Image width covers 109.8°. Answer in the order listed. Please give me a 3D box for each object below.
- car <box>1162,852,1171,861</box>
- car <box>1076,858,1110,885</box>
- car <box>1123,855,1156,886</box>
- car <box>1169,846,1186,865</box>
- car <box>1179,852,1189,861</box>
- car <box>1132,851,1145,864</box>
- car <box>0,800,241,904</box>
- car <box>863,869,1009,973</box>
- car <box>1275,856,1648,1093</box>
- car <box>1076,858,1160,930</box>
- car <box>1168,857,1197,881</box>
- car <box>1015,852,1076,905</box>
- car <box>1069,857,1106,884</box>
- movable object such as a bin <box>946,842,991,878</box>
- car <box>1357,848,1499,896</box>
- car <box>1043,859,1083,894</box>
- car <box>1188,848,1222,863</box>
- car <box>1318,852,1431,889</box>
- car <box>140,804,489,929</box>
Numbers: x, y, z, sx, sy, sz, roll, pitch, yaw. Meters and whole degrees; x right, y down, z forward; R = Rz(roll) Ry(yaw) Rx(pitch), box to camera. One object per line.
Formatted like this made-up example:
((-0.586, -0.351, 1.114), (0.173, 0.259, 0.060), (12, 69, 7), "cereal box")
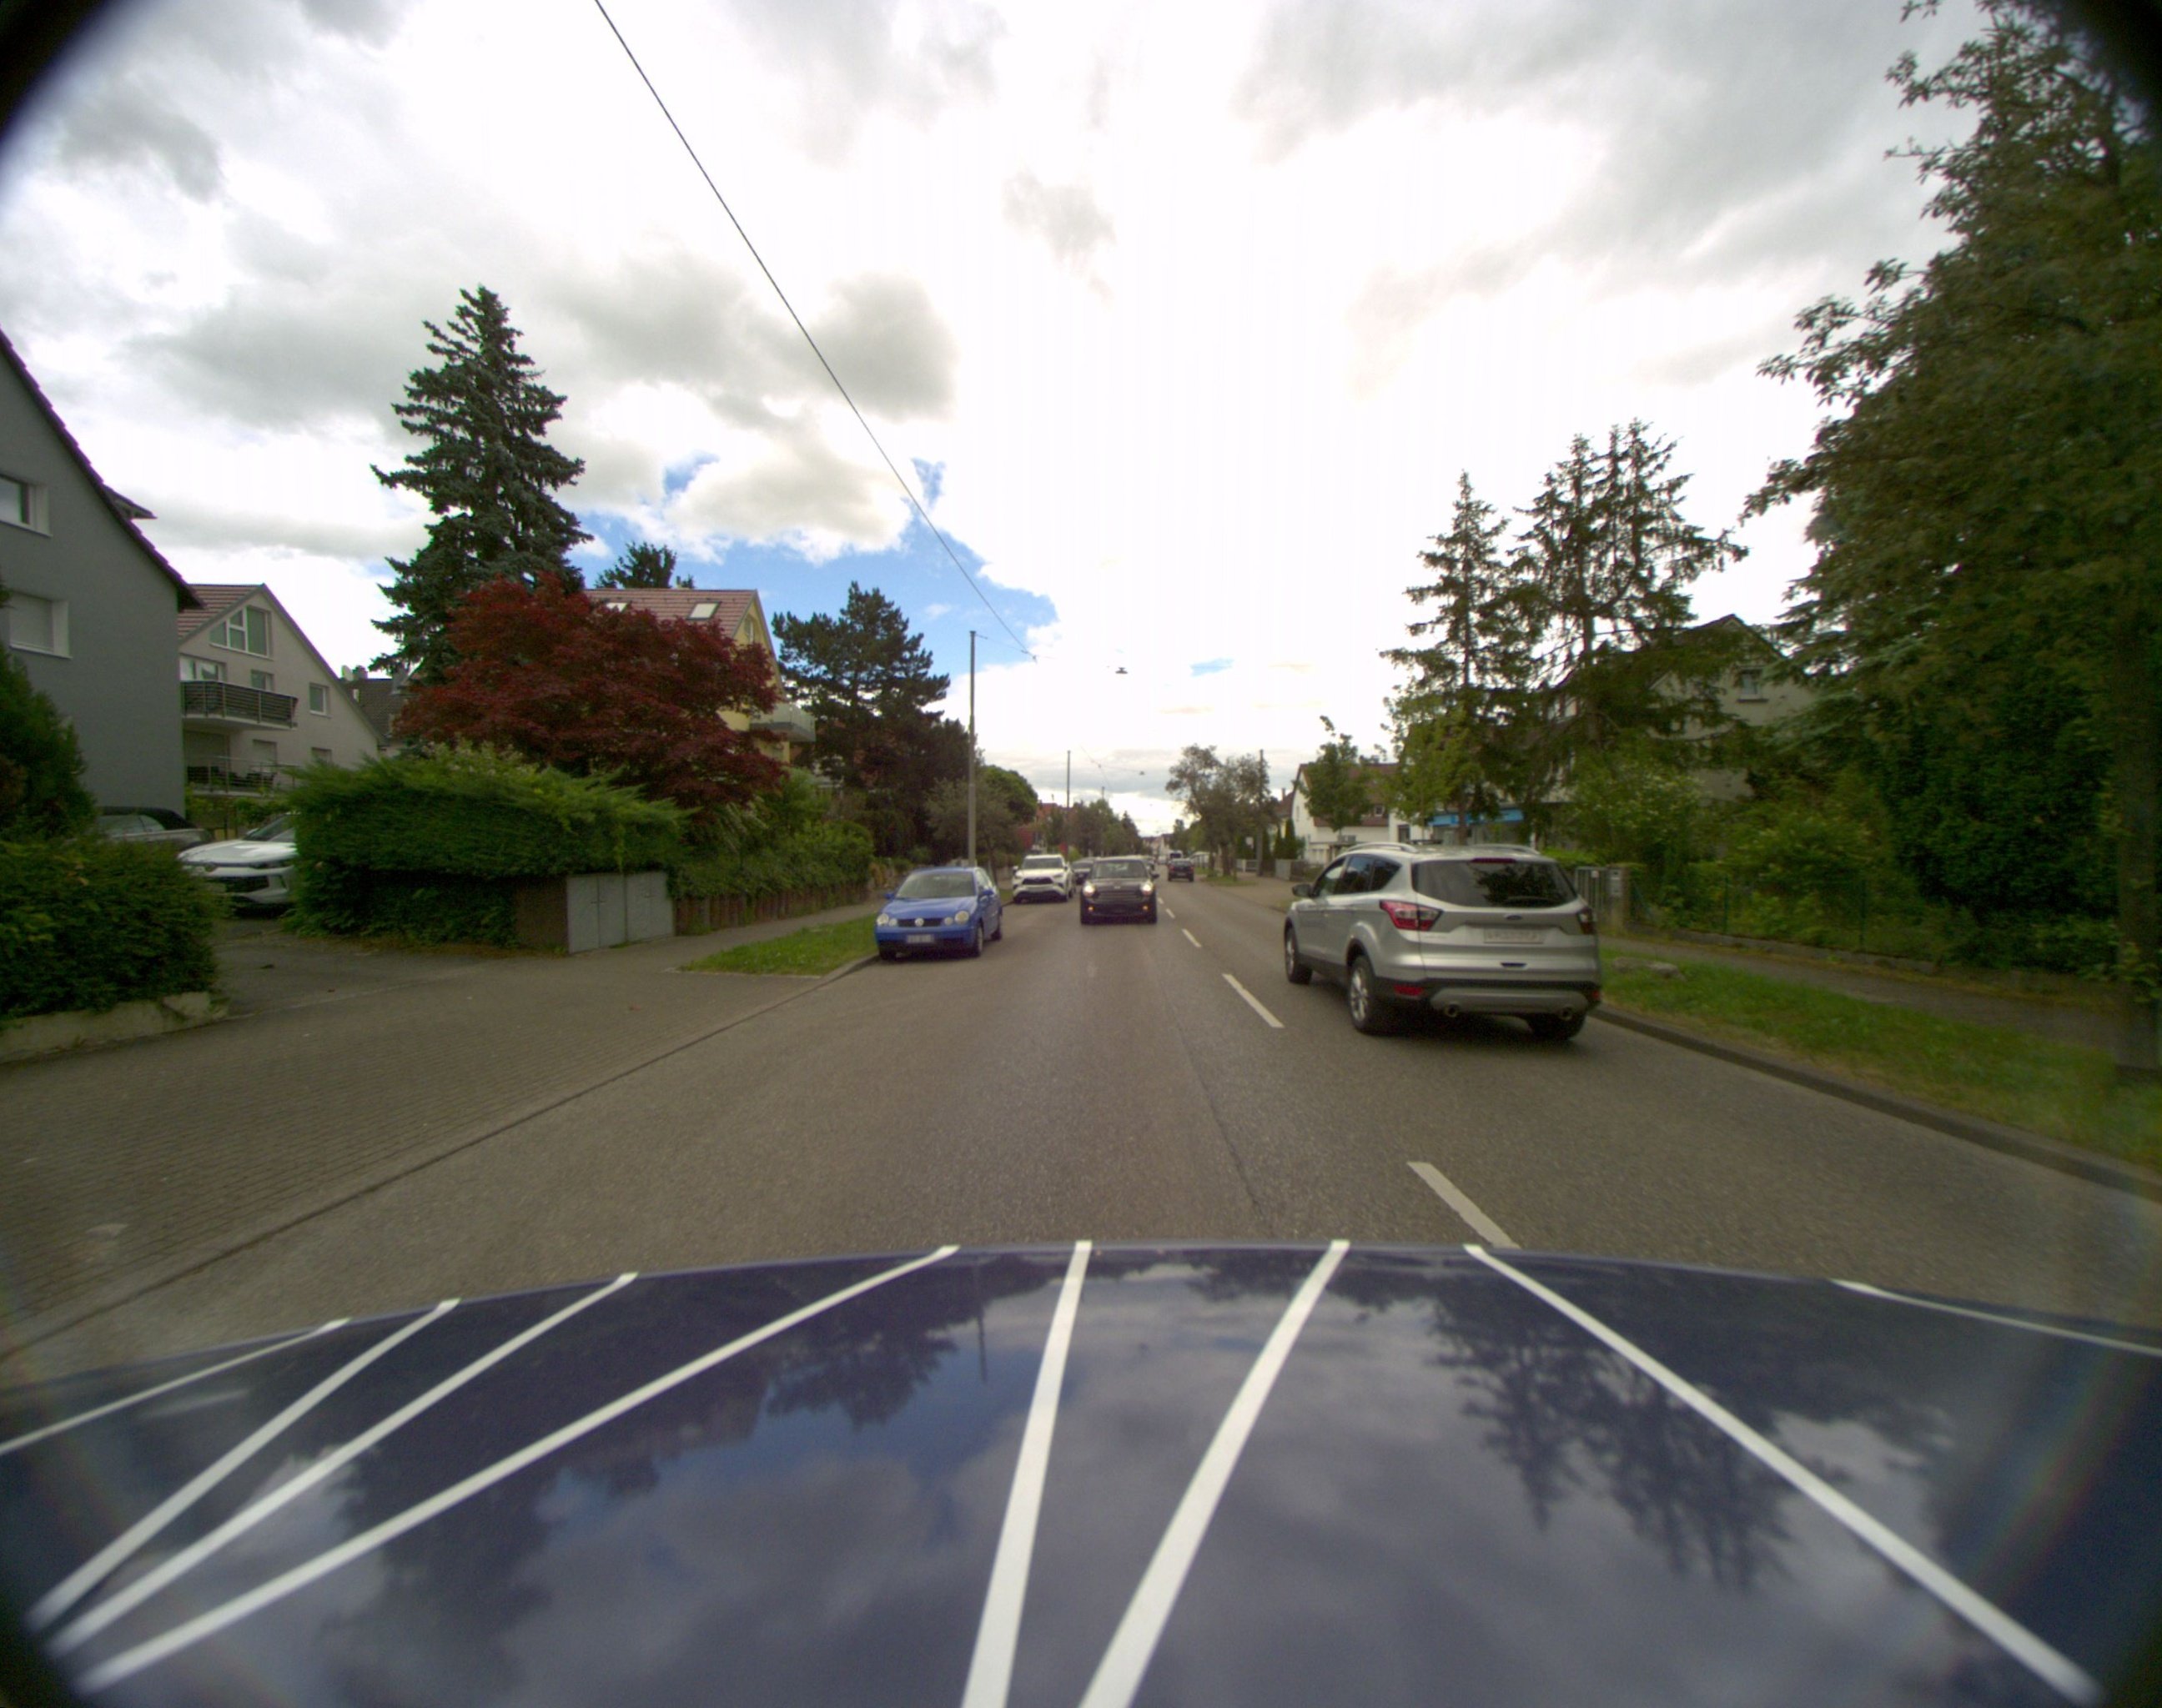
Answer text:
((17.357, 0.559, 154.143), (1.799, 1.741, 4.301), (0, 0, 7), "car")
((0.882, 1.152, 52.728), (1.834, 1.702, 4.551), (-2, 0, 7), "car")
((3.219, 0.855, 41.363), (1.589, 1.598, 3.687), (0, 0, 8), "car")
((13.452, 0.240, 105.941), (2.077, 2.567, 5.302), (2, 0, 5), "car")
((22.509, 0.525, 166.534), (1.997, 1.938, 4.901), (0, 0, 7), "car")
((8.363, 0.497, 110.859), (1.779, 1.932, 4.790), (-2, 0, 5), "car")
((-18.470, -0.124, 13.974), (1.814, 1.583, 3.928), (4, 2, -4), "car")
((-2.382, 1.053, 13.423), (1.630, 1.443, 3.876), (-2, 0, 2), "car")
((3.319, 0.891, 7.640), (1.746, 1.696, 4.100), (1, 0, 1), "car")
((1.000, 0.896, 18.521), (1.742, 1.573, 3.687), (-1, 0, 7), "car")
((6.622, 0.943, 49.872), (1.578, 1.463, 3.471), (1, 1, 2), "car")
((-1.231, 0.838, 28.444), (1.803, 1.768, 4.705), (-2, 0, 2), "car")
((0.428, 0.967, 46.268), (1.834, 1.448, 4.552), (-2, 0, 5), "car")
((-6.548, 0.333, 44.238), (2.316, 2.002, 1.343), (-2, 1, 1), "movable object such as a bin")
((12.699, 0.647, 28.068), (4.342, 1.608, 1.974), (-2, 1, 7), "car")
((-0.789, 1.002, 34.860), (1.562, 1.434, 3.507), (-2, 0, 2), "car")
((22.403, 0.195, 137.186), (5.608, 2.549, 2.134), (2, 2, 24), "car")
((12.975, 0.711, 33.776), (4.289, 1.360, 1.816), (-3, 1, 0), "car")
((-13.305, 0.050, 13.737), (1.782, 1.670, 4.532), (3, 6, -3), "car")
